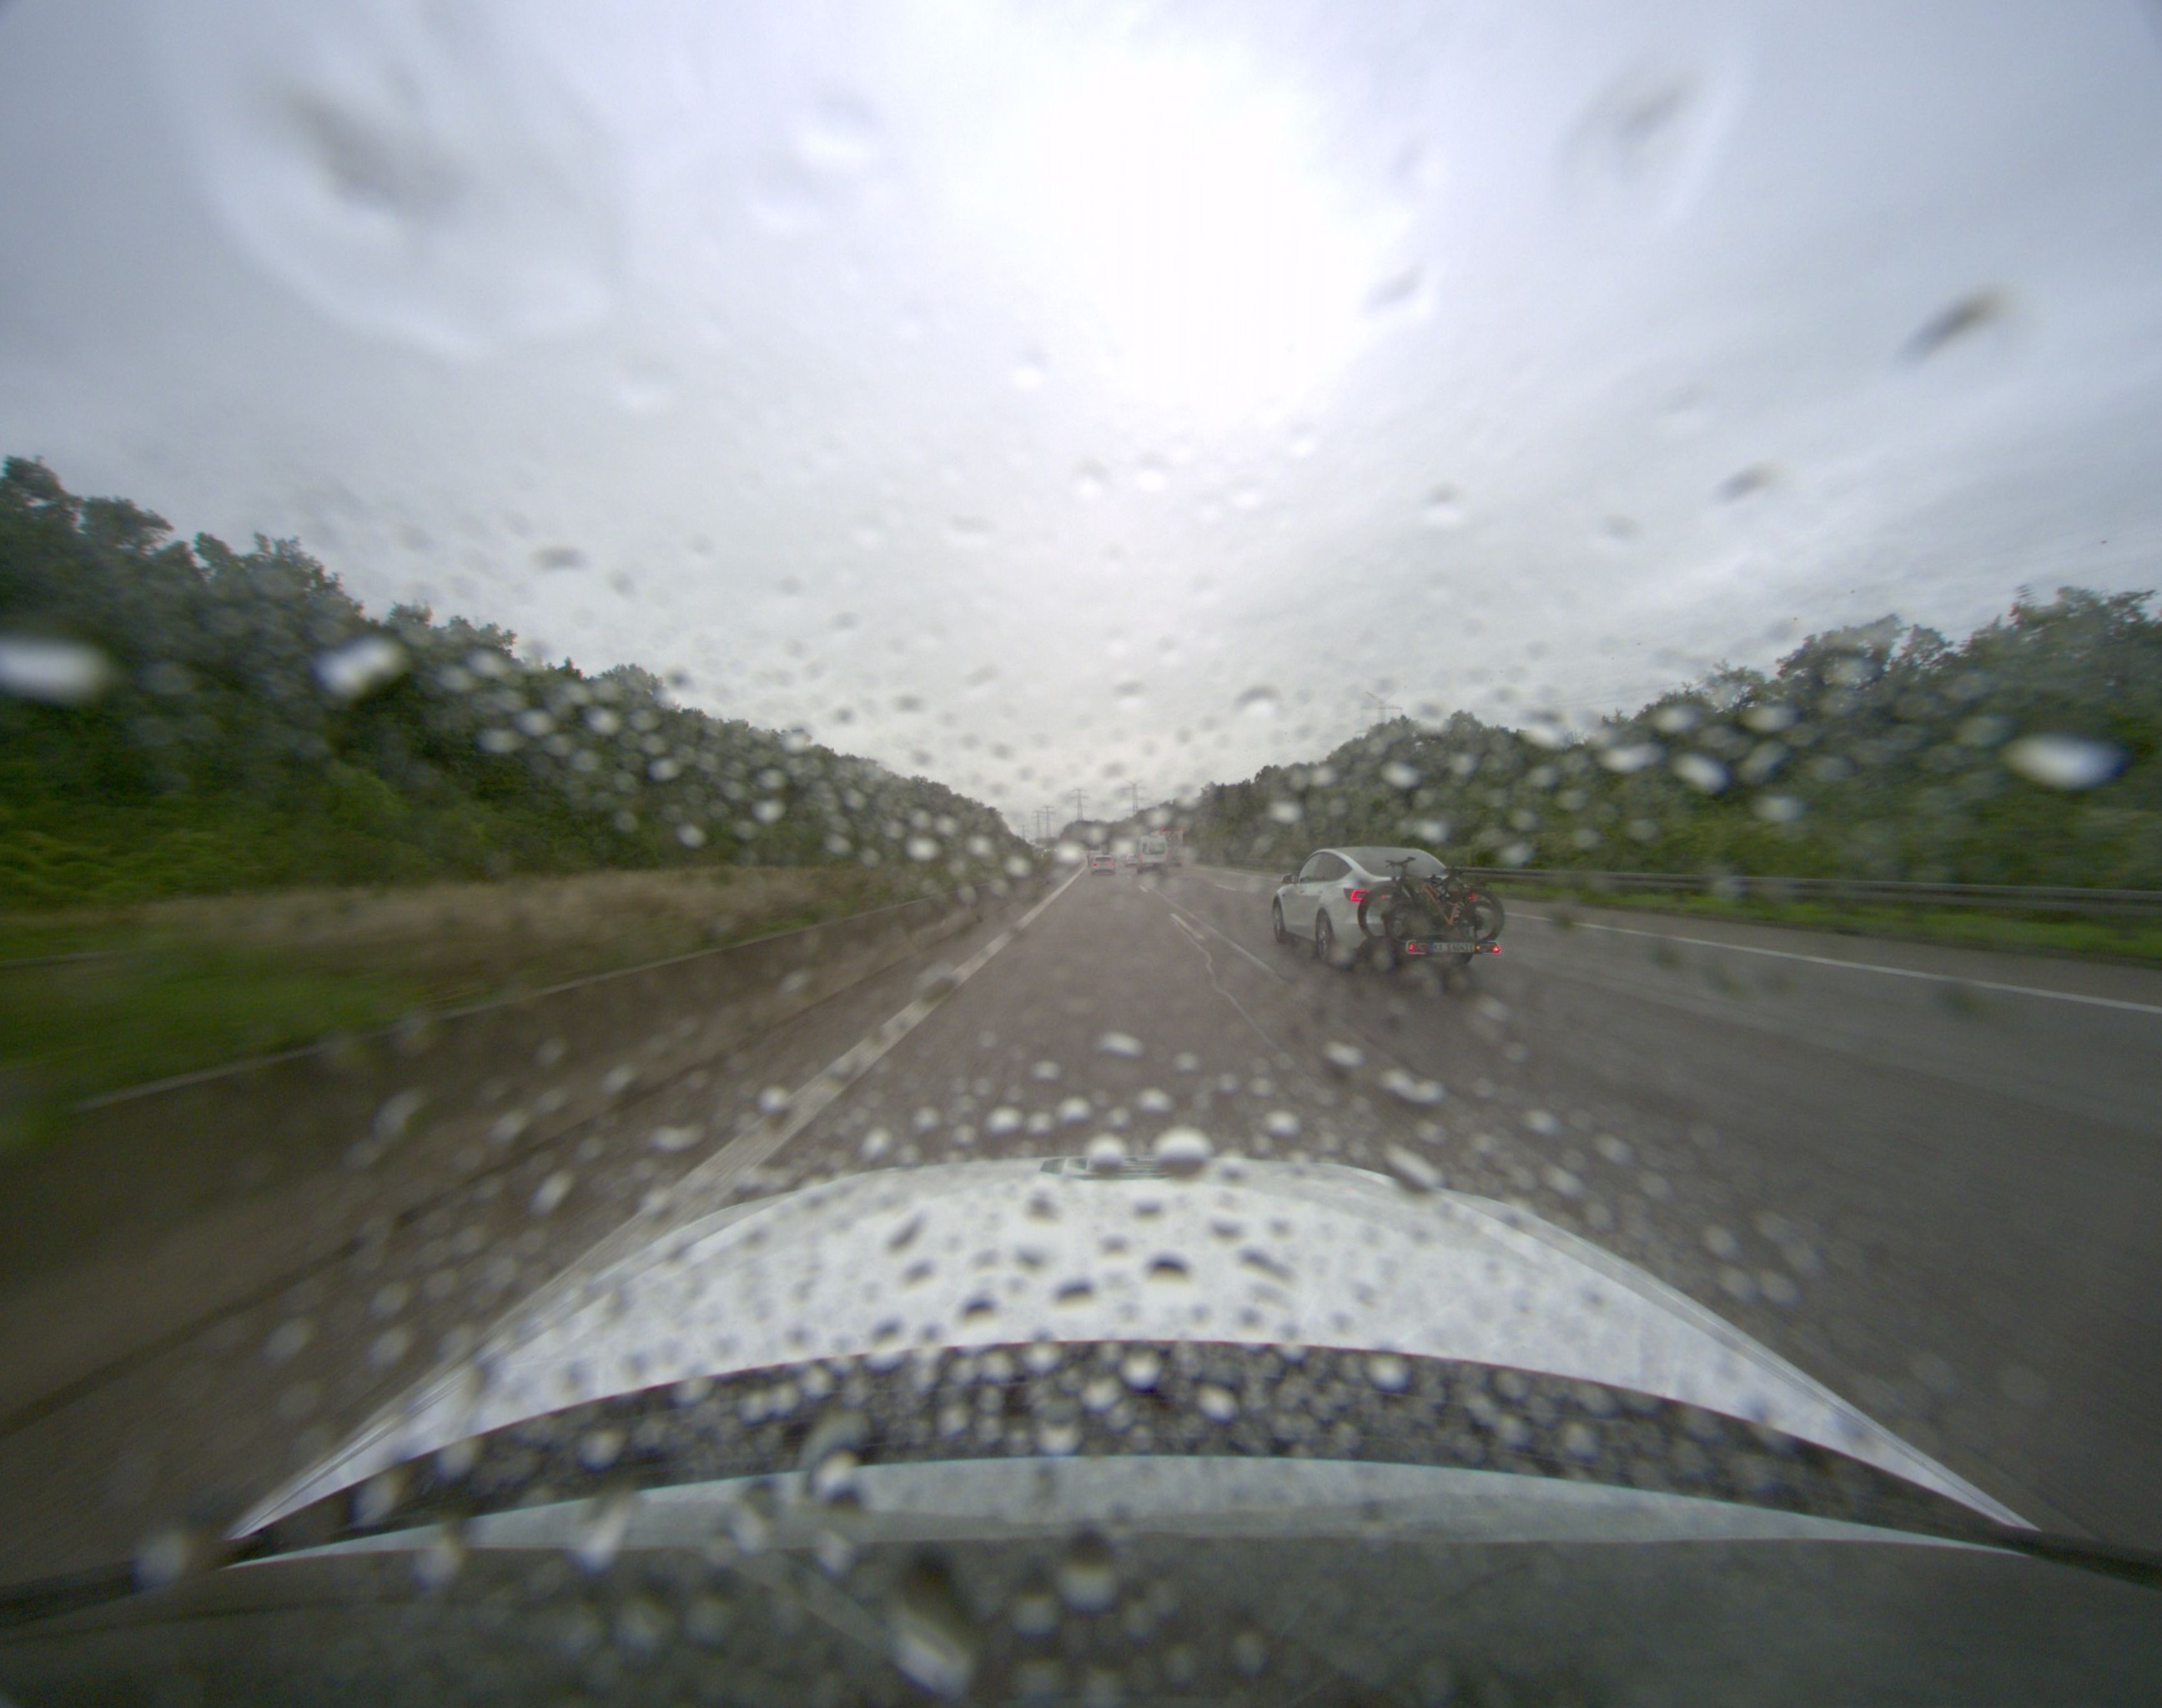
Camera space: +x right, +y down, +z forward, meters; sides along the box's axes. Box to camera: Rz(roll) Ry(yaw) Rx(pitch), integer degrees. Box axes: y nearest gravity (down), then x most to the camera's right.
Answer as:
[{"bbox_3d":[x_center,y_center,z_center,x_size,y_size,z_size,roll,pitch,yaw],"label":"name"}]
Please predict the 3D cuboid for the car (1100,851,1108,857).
[{"bbox_3d":[6.209,0.034,217.351,1.986,1.574,4.002,-3,-1,2],"label":"car"}]

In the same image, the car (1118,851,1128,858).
[{"bbox_3d":[9.742,0.118,188.703,1.986,1.486,4.002,-4,0,2],"label":"car"}]

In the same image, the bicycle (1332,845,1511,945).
[{"bbox_3d":[4.013,0.475,9.734,1.746,1.090,0.914,-1,-1,2],"label":"bicycle"}]

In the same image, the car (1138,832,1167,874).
[{"bbox_3d":[5.180,-0.067,59.436,1.985,2.864,4.004,-1,0,3],"label":"car"}]

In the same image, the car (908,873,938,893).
[{"bbox_3d":[-13.066,2.382,67.556,1.654,1.486,3.476,-3,0,1],"label":"car"}]

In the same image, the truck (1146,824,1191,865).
[{"bbox_3d":[9.992,-0.986,94.252,3.592,4.332,13.195,-2,0,0],"label":"truck"}]

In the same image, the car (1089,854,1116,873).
[{"bbox_3d":[1.617,0.691,60.039,1.859,1.288,4.002,-1,0,2],"label":"car"}]

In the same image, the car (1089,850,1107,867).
[{"bbox_3d":[1.967,0.499,92.530,1.839,1.772,4.002,-1,0,2],"label":"car"}]

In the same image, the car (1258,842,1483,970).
[{"bbox_3d":[4.152,0.641,12.652,1.853,1.568,4.966,-1,0,2],"label":"car"}]

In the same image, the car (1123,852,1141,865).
[{"bbox_3d":[5.604,0.492,89.923,1.849,1.422,4.004,-1,0,3],"label":"car"}]
